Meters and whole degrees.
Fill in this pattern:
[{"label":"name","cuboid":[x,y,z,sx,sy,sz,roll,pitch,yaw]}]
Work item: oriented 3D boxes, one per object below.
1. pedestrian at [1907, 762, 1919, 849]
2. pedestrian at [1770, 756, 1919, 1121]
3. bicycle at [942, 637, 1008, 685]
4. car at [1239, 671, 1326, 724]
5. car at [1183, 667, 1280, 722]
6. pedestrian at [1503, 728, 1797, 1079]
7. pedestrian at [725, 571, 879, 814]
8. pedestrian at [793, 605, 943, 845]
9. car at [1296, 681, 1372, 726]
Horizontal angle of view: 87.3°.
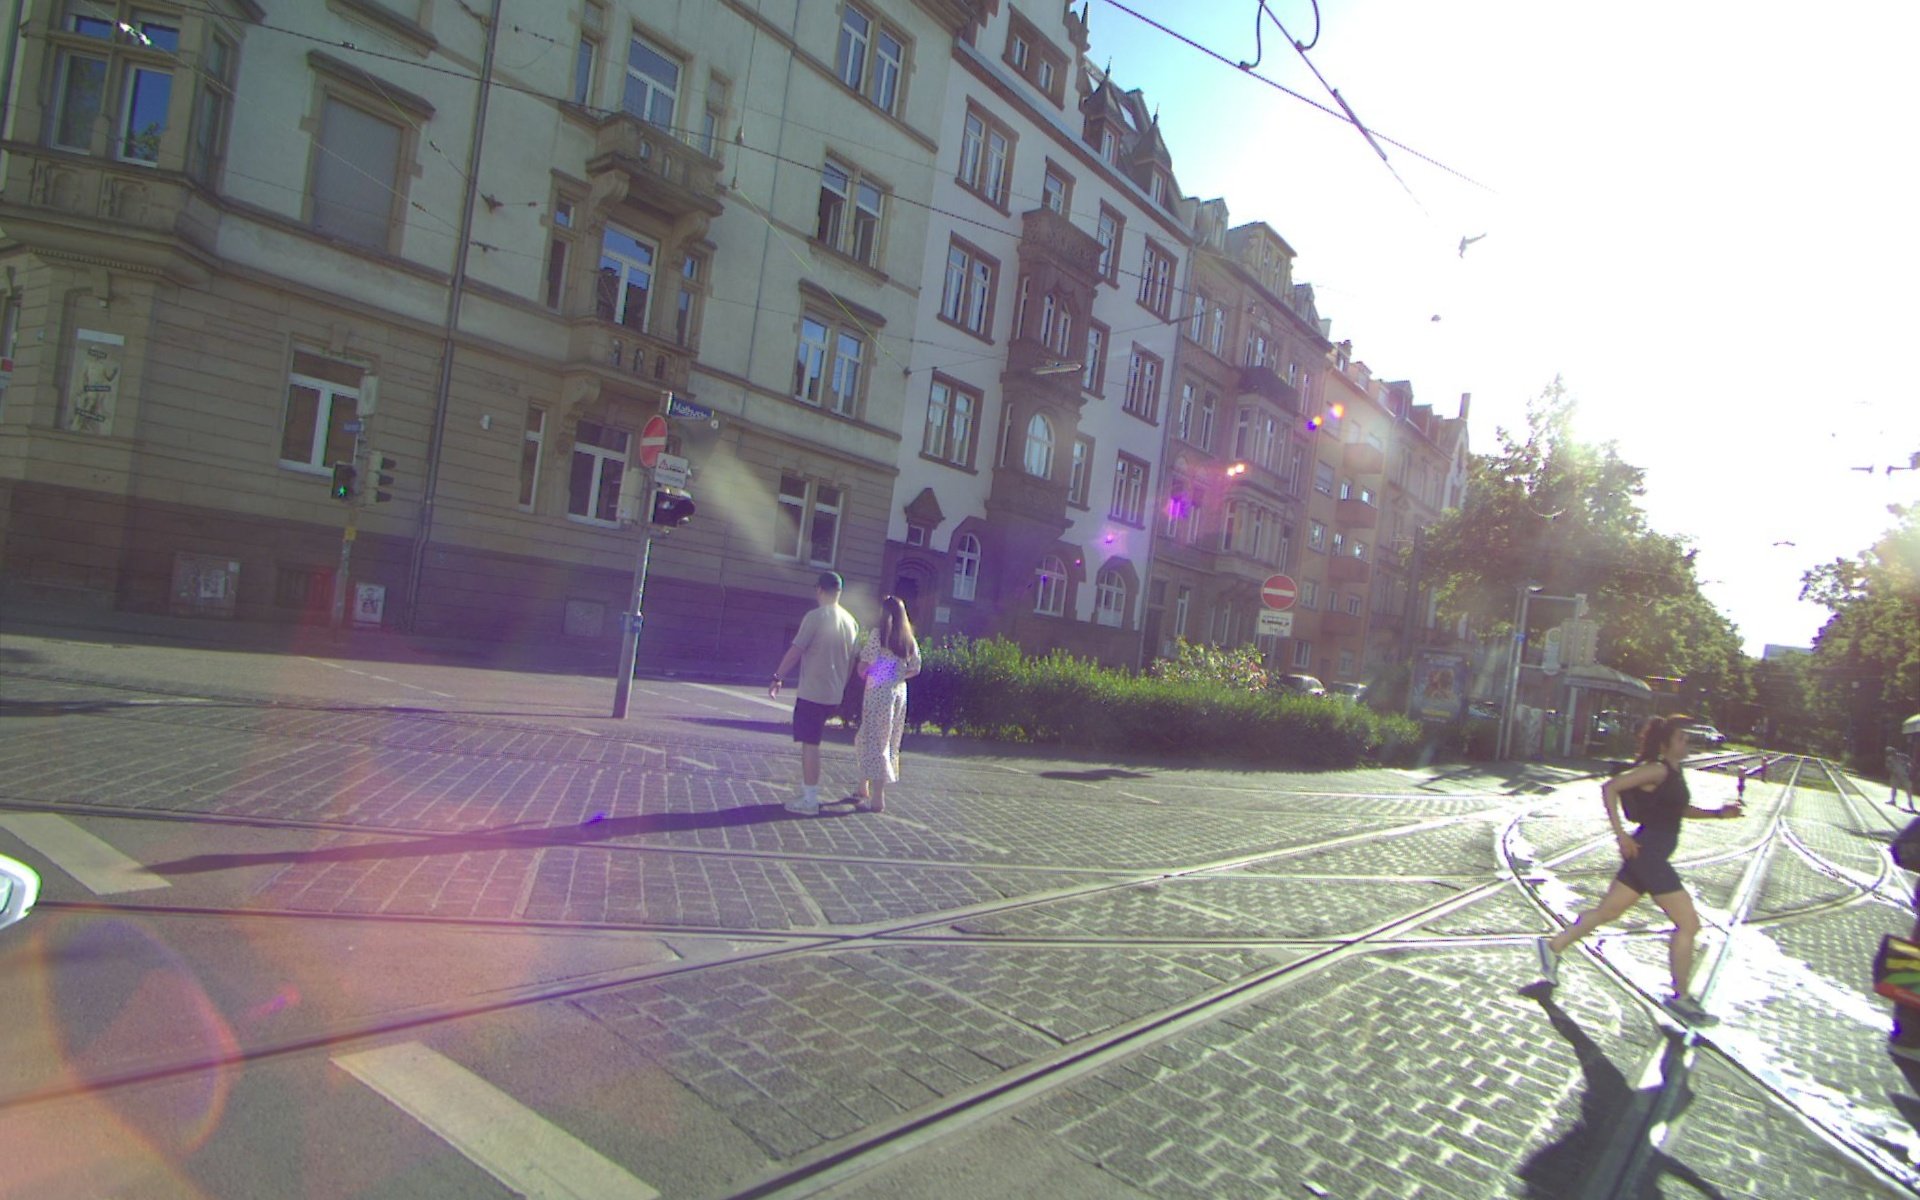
[{"label":"pedestrian","cuboid":[18.973,4.023,19.037,1.003,1.651,1.010,9,0,17]},{"label":"pedestrian","cuboid":[5.058,1.741,5.148,0.914,1.651,0.936,9,0,-24]},{"label":"bicycle","cuboid":[0.477,1.839,30.122,0.518,1.187,2.186,10,-1,41]},{"label":"car","cuboid":[13.160,3.994,40.950,1.866,1.585,3.990,12,0,39]},{"label":"car","cuboid":[10.043,3.515,37.018,1.866,1.414,3.990,12,-1,39]},{"label":"pedestrian","cuboid":[3.655,1.563,5.394,0.627,1.555,0.936,9,0,-24]},{"label":"pedestrian","cuboid":[-1.179,0.680,7.476,0.697,1.674,0.626,9,0,-34]},{"label":"pedestrian","cuboid":[-0.742,0.990,8.070,0.641,1.764,0.698,11,-2,-39]},{"label":"car","cuboid":[16.800,4.667,45.094,1.866,1.414,3.990,12,-1,39]}]
